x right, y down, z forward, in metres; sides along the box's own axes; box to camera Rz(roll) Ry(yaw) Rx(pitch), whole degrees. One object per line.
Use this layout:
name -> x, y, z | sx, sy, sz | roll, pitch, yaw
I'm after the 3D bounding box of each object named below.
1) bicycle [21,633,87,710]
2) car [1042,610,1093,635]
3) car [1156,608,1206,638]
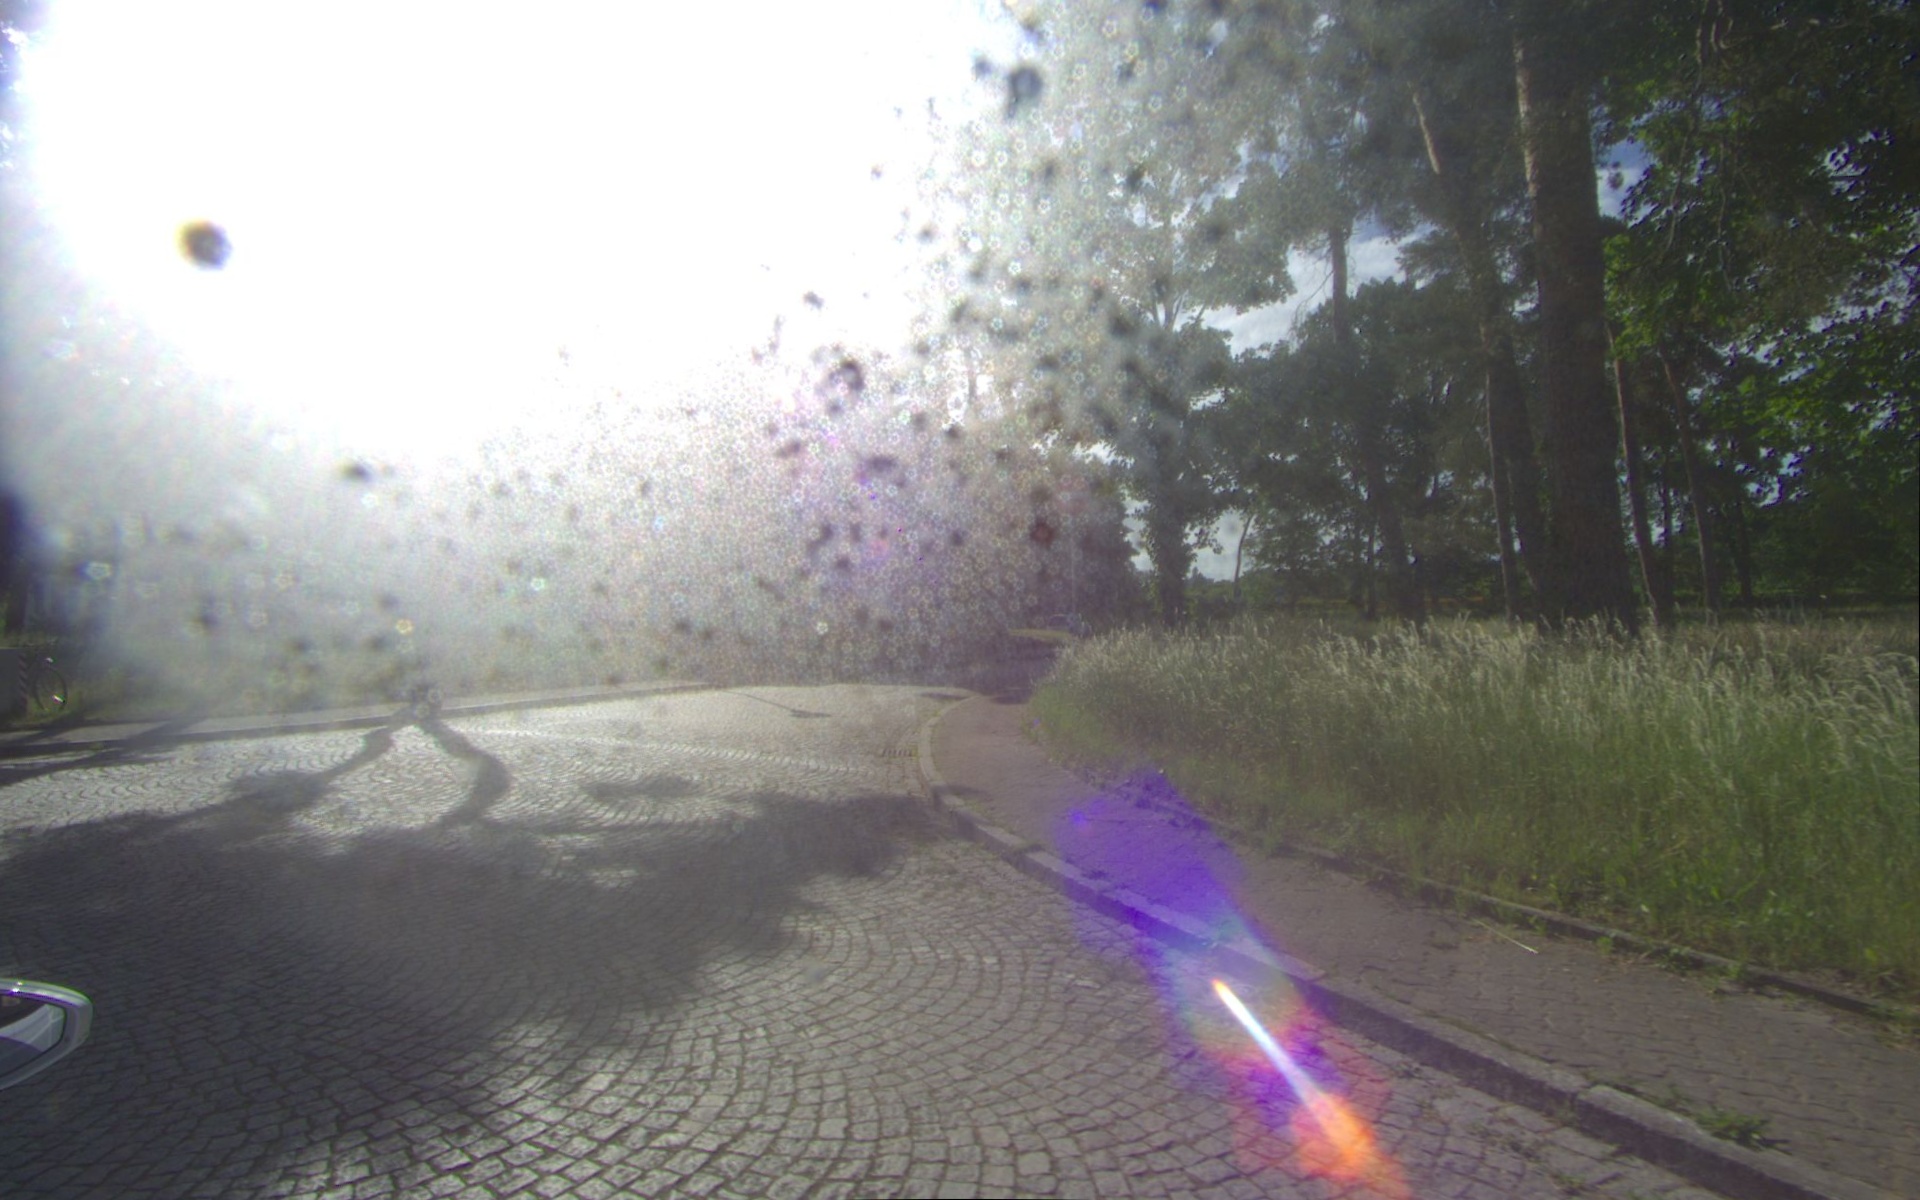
bicycle -> -13.529, 1.046, 14.947 | 1.157, 1.094, 0.464 | -1, 0, 34
car -> 6.583, 1.358, 61.054 | 1.818, 1.483, 3.985 | 0, 0, 27
car -> 12.543, 1.294, 56.660 | 1.826, 1.619, 3.985 | 0, 0, 27
